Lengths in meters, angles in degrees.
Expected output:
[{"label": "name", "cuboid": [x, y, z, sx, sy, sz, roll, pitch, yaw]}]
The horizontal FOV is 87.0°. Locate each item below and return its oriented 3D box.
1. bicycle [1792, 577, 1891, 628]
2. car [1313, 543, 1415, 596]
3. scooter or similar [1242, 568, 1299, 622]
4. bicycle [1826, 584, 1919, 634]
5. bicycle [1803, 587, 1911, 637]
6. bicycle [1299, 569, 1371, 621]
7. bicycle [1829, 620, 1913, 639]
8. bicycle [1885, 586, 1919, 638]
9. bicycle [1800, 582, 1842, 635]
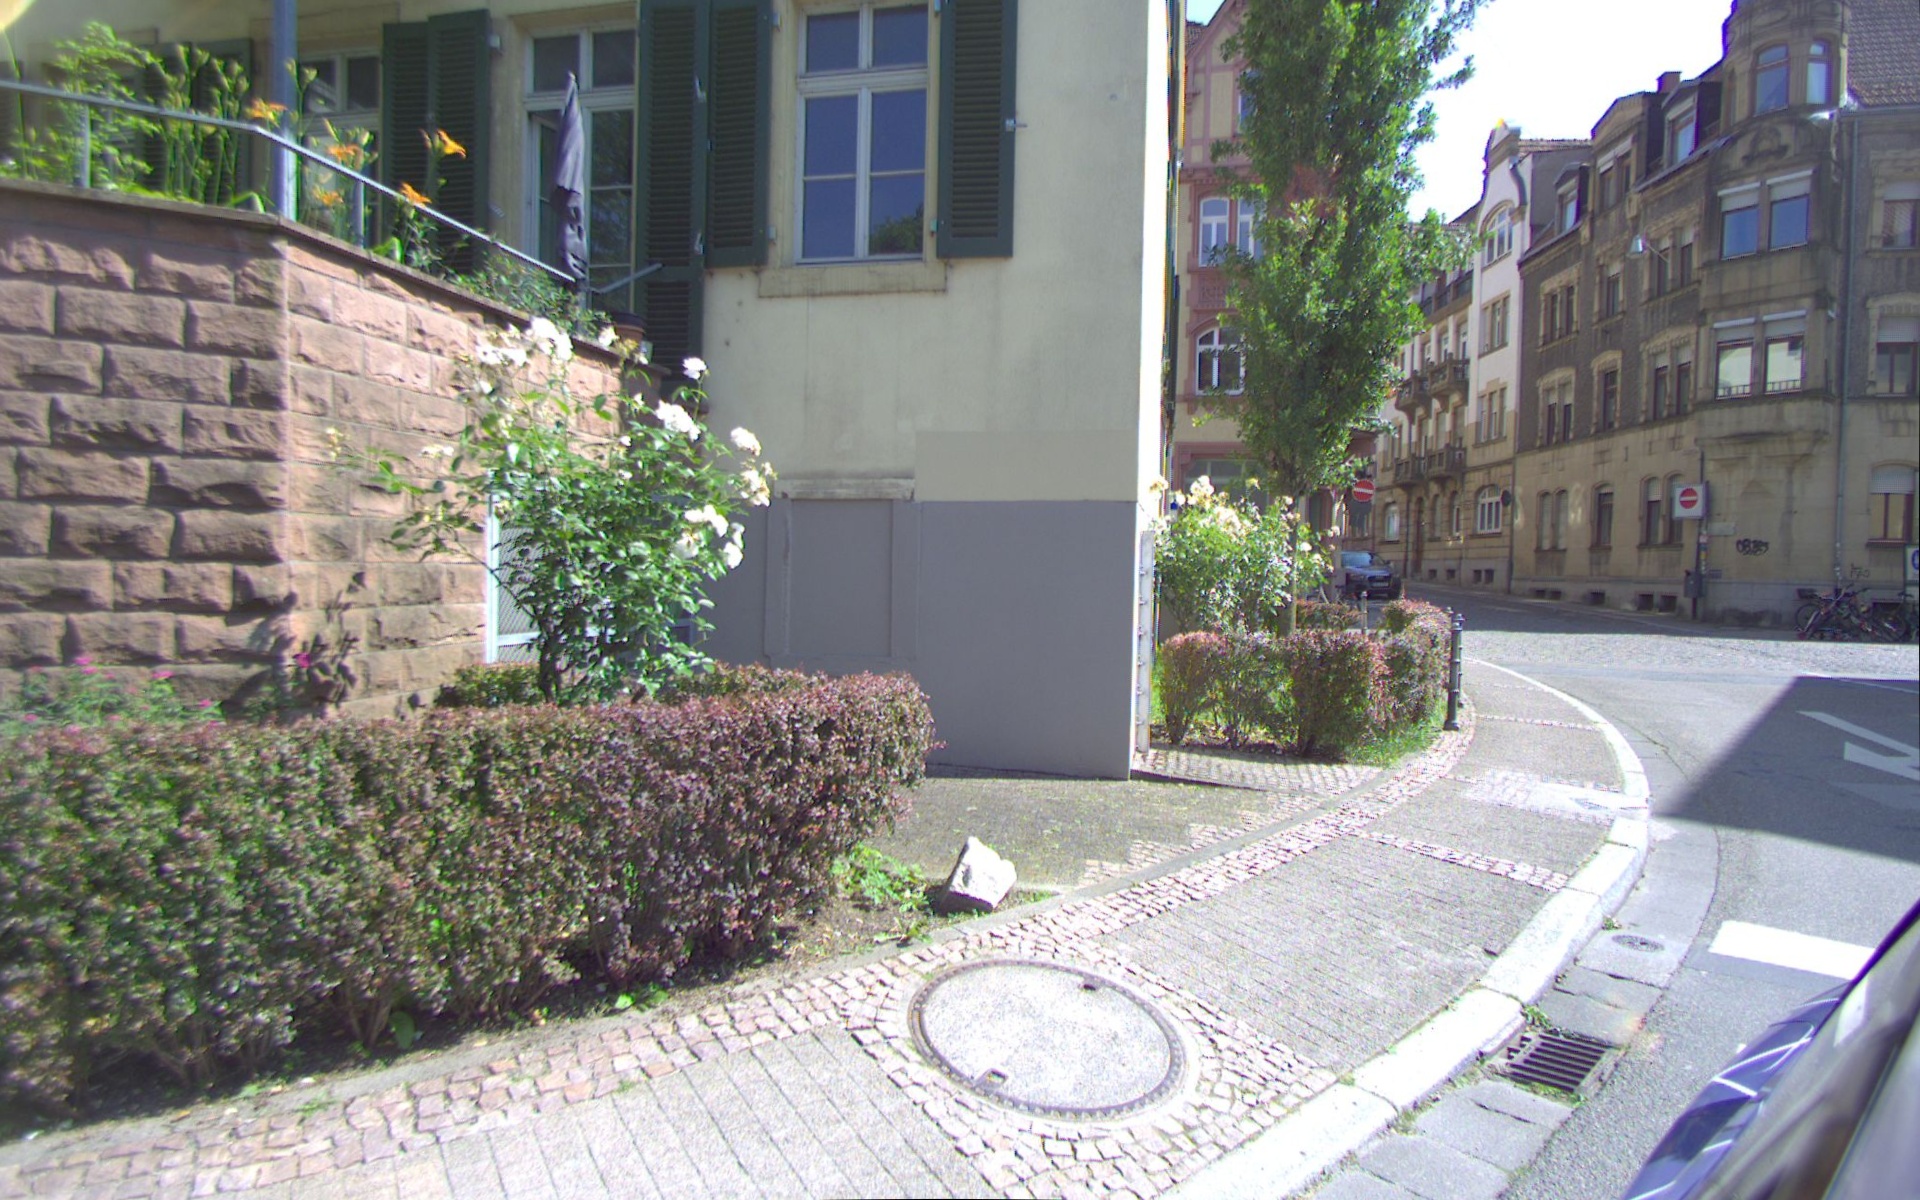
[{"label": "bicycle", "cuboid": [20.652, 0.054, 23.725, 1.617, 1.098, 0.495, 2, 6, 13]}, {"label": "car", "cuboid": [13.591, -1.088, 34.326, 1.828, 1.601, 4.261, -1, 4, 2]}, {"label": "scooter or similar", "cuboid": [7.320, -0.119, 23.887, 1.168, 1.250, 0.442, 1, 2, -1]}, {"label": "bicycle", "cuboid": [19.972, 0.178, 21.999, 0.285, 1.080, 1.642, -42, 1, 3]}, {"label": "bicycle", "cuboid": [19.484, 0.238, 22.036, 0.285, 1.080, 1.642, -42, 1, 3]}, {"label": "bicycle", "cuboid": [8.983, -0.134, 24.321, 0.495, 1.160, 1.798, 1, 3, -23]}, {"label": "bicycle", "cuboid": [19.457, 0.628, 21.649, 1.068, 0.291, 1.114, 2, 3, 27]}, {"label": "bicycle", "cuboid": [20.420, 0.253, 21.184, 0.280, 1.099, 1.646, 3, -1, -15]}, {"label": "bicycle", "cuboid": [18.869, 0.169, 22.195, 0.283, 1.099, 1.628, -2, 1, 26]}]
